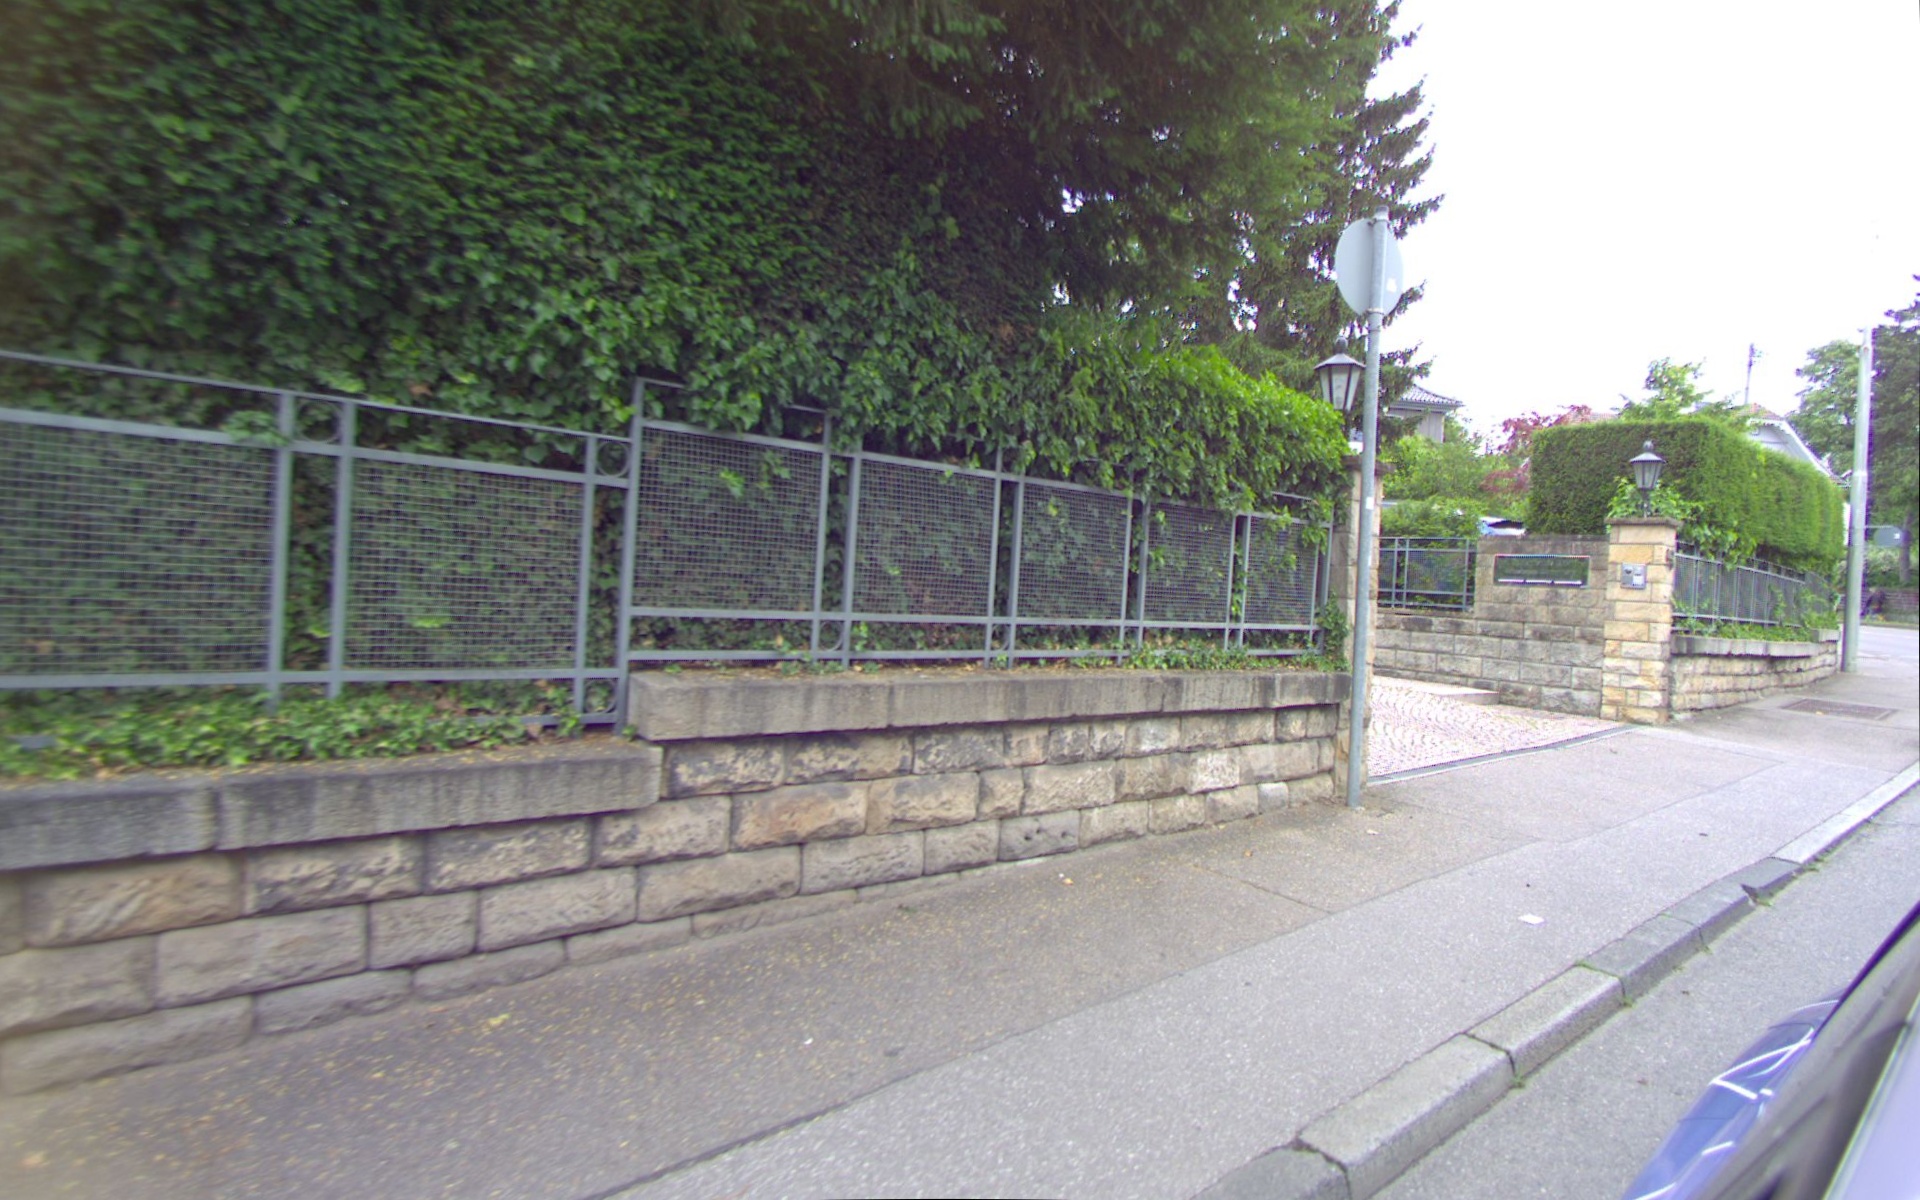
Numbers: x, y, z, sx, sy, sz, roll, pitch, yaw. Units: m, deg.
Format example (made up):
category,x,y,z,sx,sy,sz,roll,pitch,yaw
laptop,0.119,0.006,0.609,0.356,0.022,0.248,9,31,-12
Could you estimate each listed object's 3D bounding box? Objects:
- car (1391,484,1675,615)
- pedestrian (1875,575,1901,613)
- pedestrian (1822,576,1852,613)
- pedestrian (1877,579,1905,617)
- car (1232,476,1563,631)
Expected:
category,x,y,z,sx,sy,sz,roll,pitch,yaw
car,9.916,-0.936,17.737,1.782,1.629,3.755,0,11,-40
pedestrian,46.560,-0.289,50.773,0.591,1.857,0.614,2,2,-13
pedestrian,45.272,-0.292,52.263,0.862,1.836,0.689,2,2,-11
pedestrian,45.616,-0.103,49.579,0.600,1.809,0.668,2,2,-15
car,6.515,-0.786,15.423,1.965,1.629,4.004,0,11,-40
